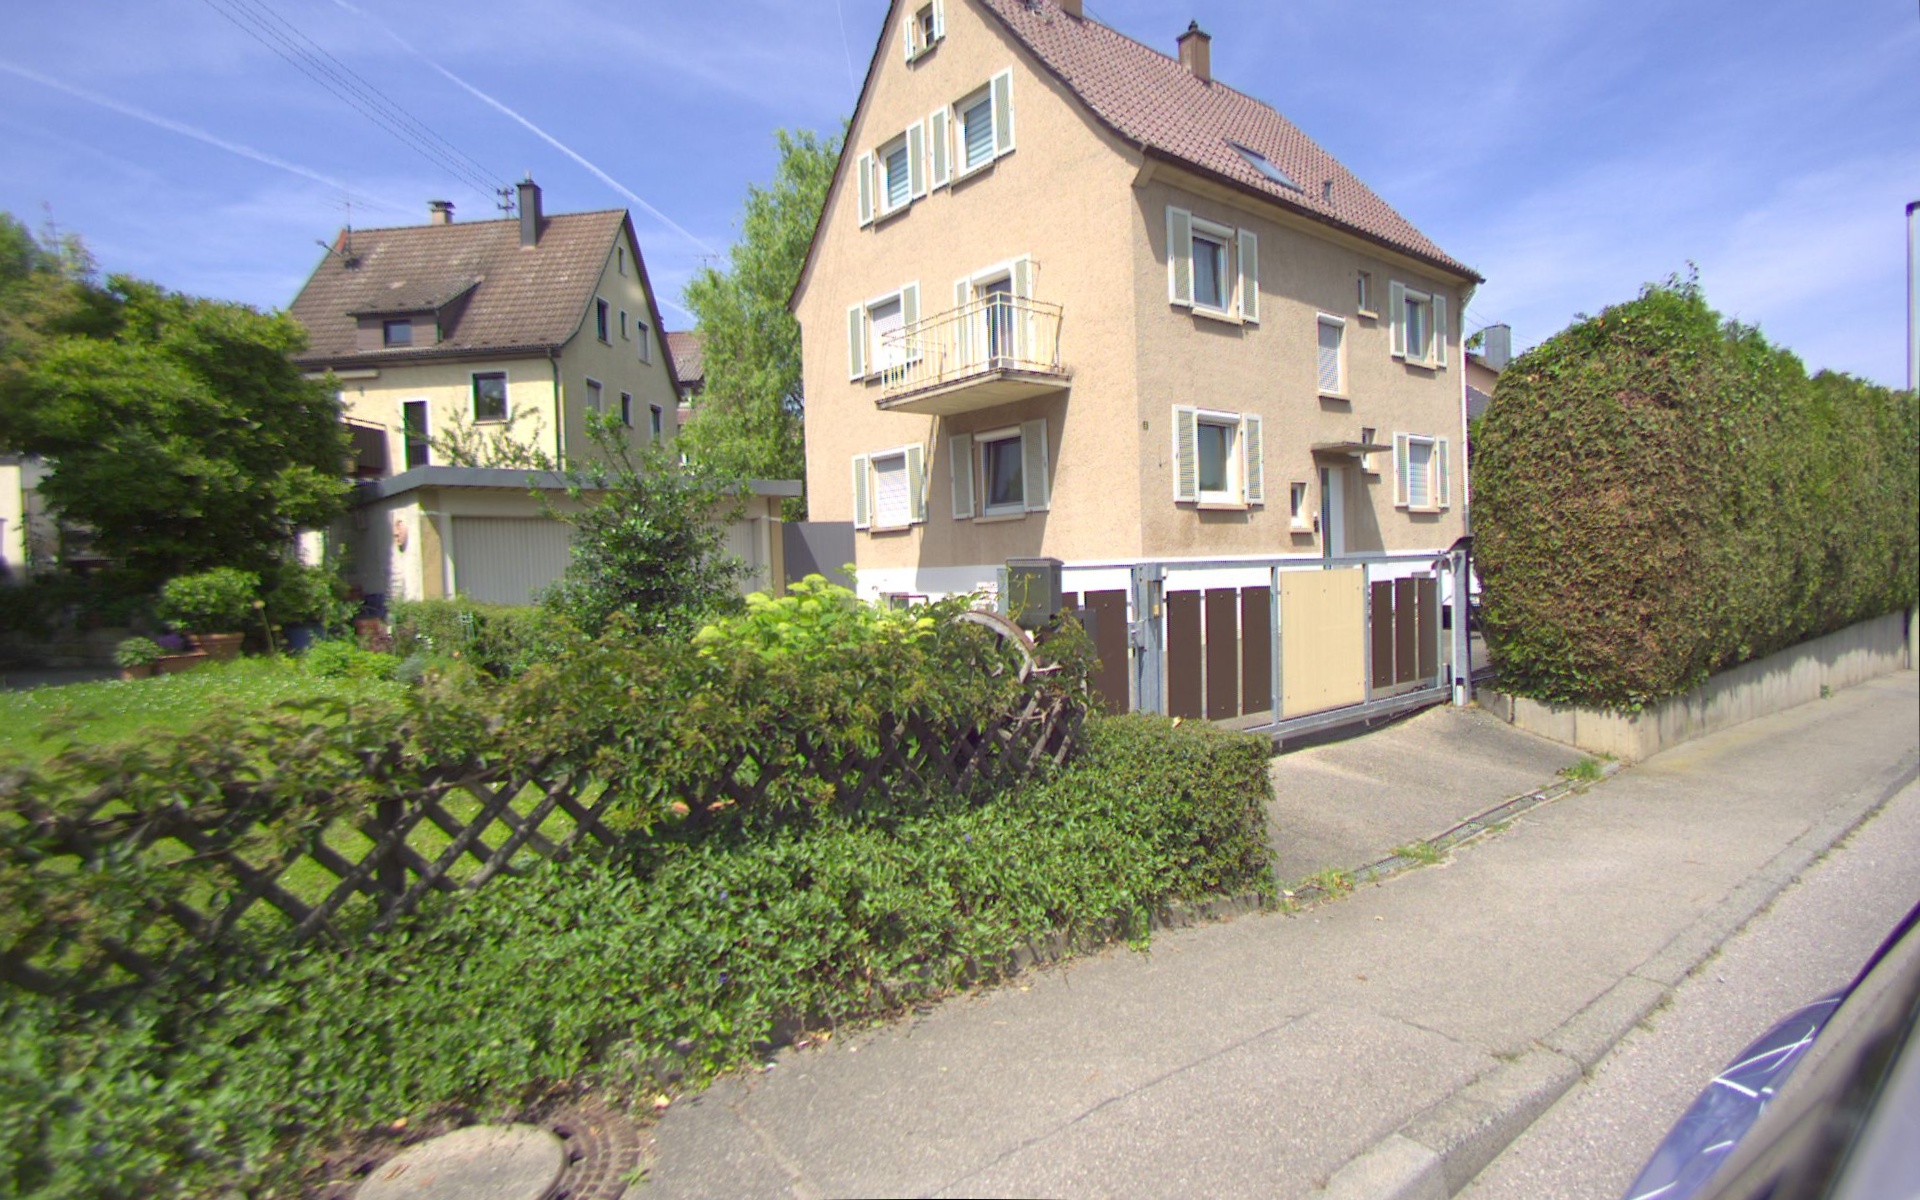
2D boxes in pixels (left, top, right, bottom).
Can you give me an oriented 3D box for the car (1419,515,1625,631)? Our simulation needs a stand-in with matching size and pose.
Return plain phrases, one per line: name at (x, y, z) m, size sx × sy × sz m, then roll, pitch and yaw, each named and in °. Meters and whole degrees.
car at (8.519, -0.466, 15.243) m, size 3.499 × 1.500 × 1.608 m, roll -5°, pitch 4°, yaw -41°
